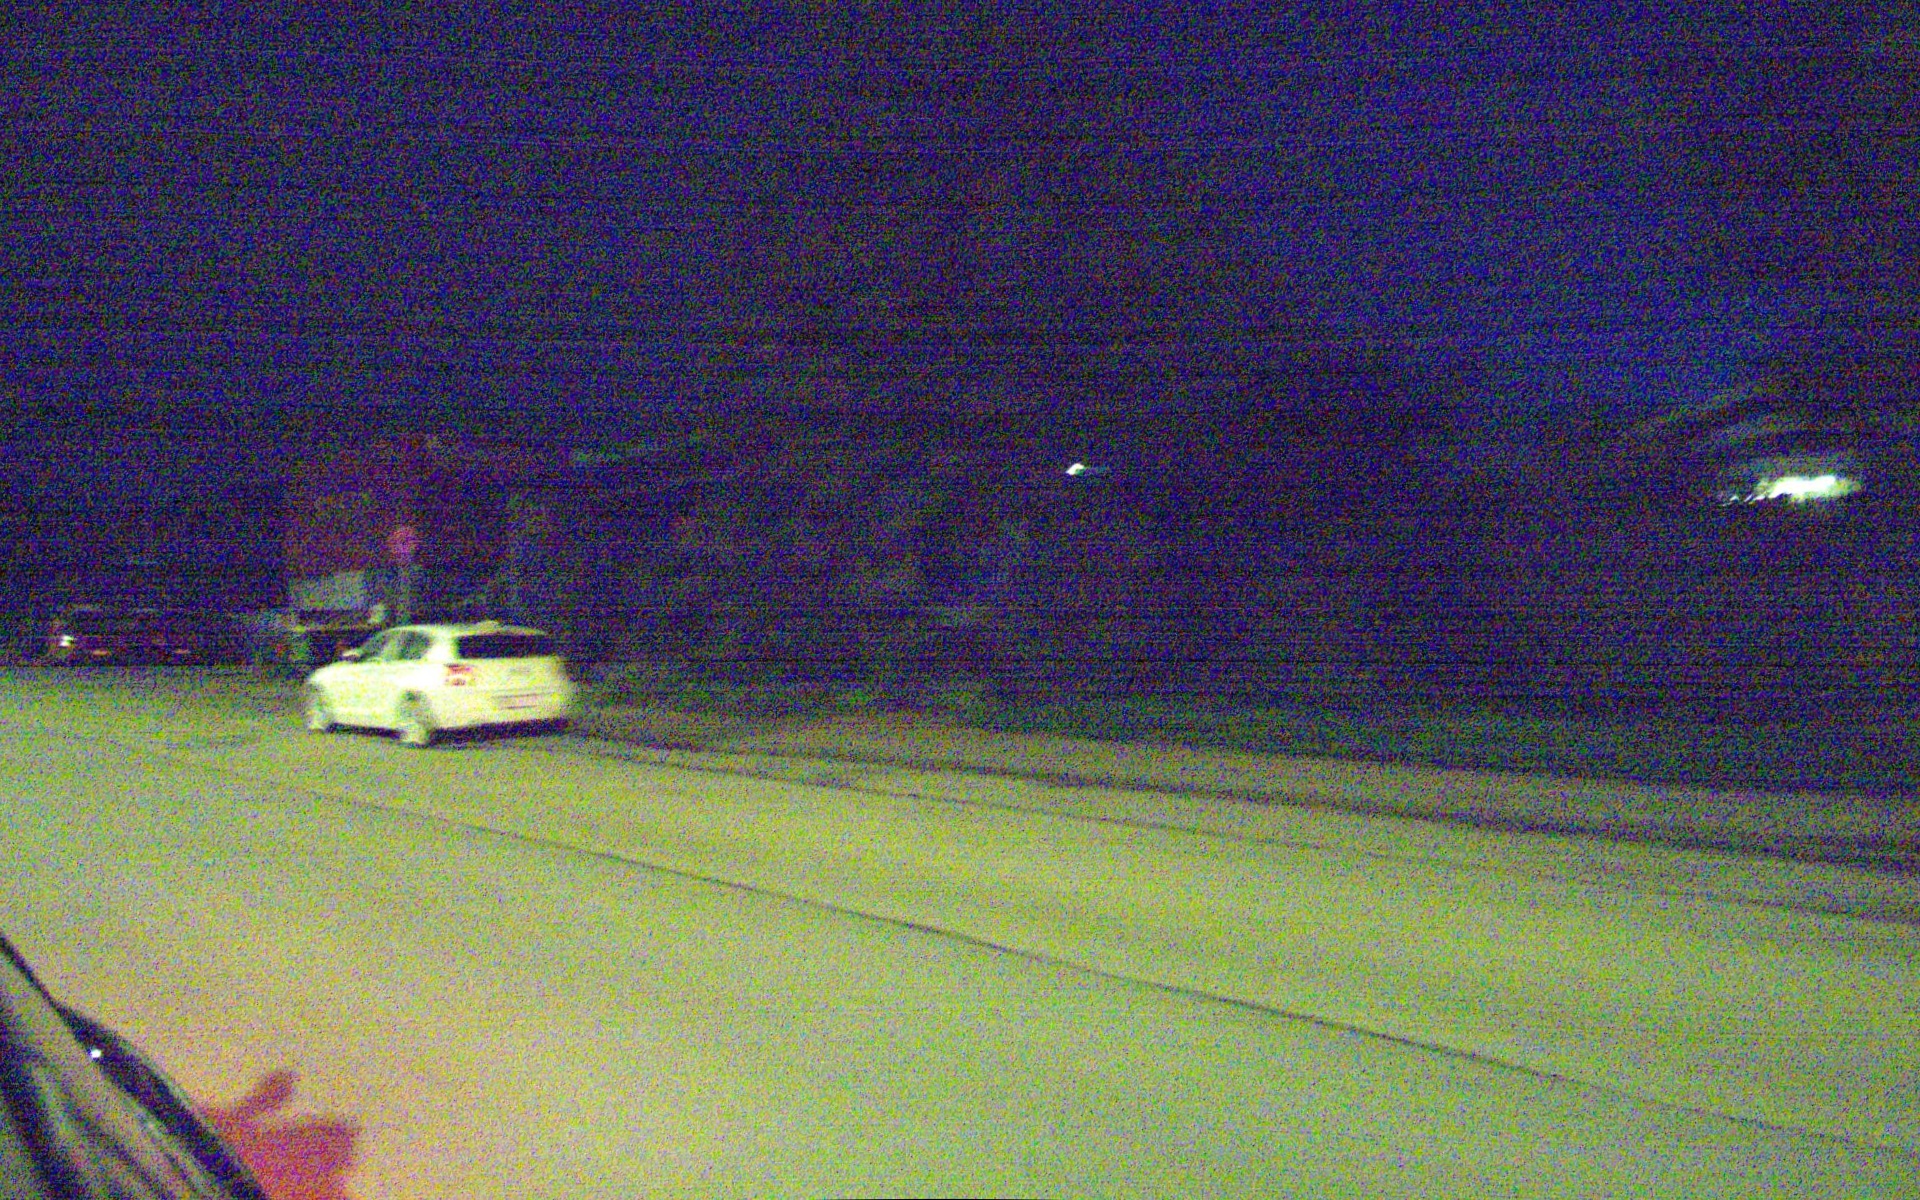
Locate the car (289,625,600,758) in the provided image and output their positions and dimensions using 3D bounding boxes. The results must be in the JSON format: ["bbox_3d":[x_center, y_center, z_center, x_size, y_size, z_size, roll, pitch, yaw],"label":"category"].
[{"bbox_3d":[-6.665,1.051,12.913,4.331,1.414,1.893,-2,-2,38],"label":"car"}]

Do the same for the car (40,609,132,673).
[{"bbox_3d":[-33.954,1.600,39.273,4.963,2.339,1.973,-2,-4,41],"label":"car"}]

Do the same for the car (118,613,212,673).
[{"bbox_3d":[-32.736,1.744,41.637,4.621,2.339,2.184,-2,-2,41],"label":"car"}]

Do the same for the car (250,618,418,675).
[{"bbox_3d":[-18.870,1.378,30.663,1.814,1.583,3.950,-2,-2,36],"label":"car"}]

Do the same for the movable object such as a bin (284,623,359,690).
[{"bbox_3d":[-14.811,1.290,23.483,1.063,1.507,1.154,-2,-2,34],"label":"movable object such as a bin"}]
